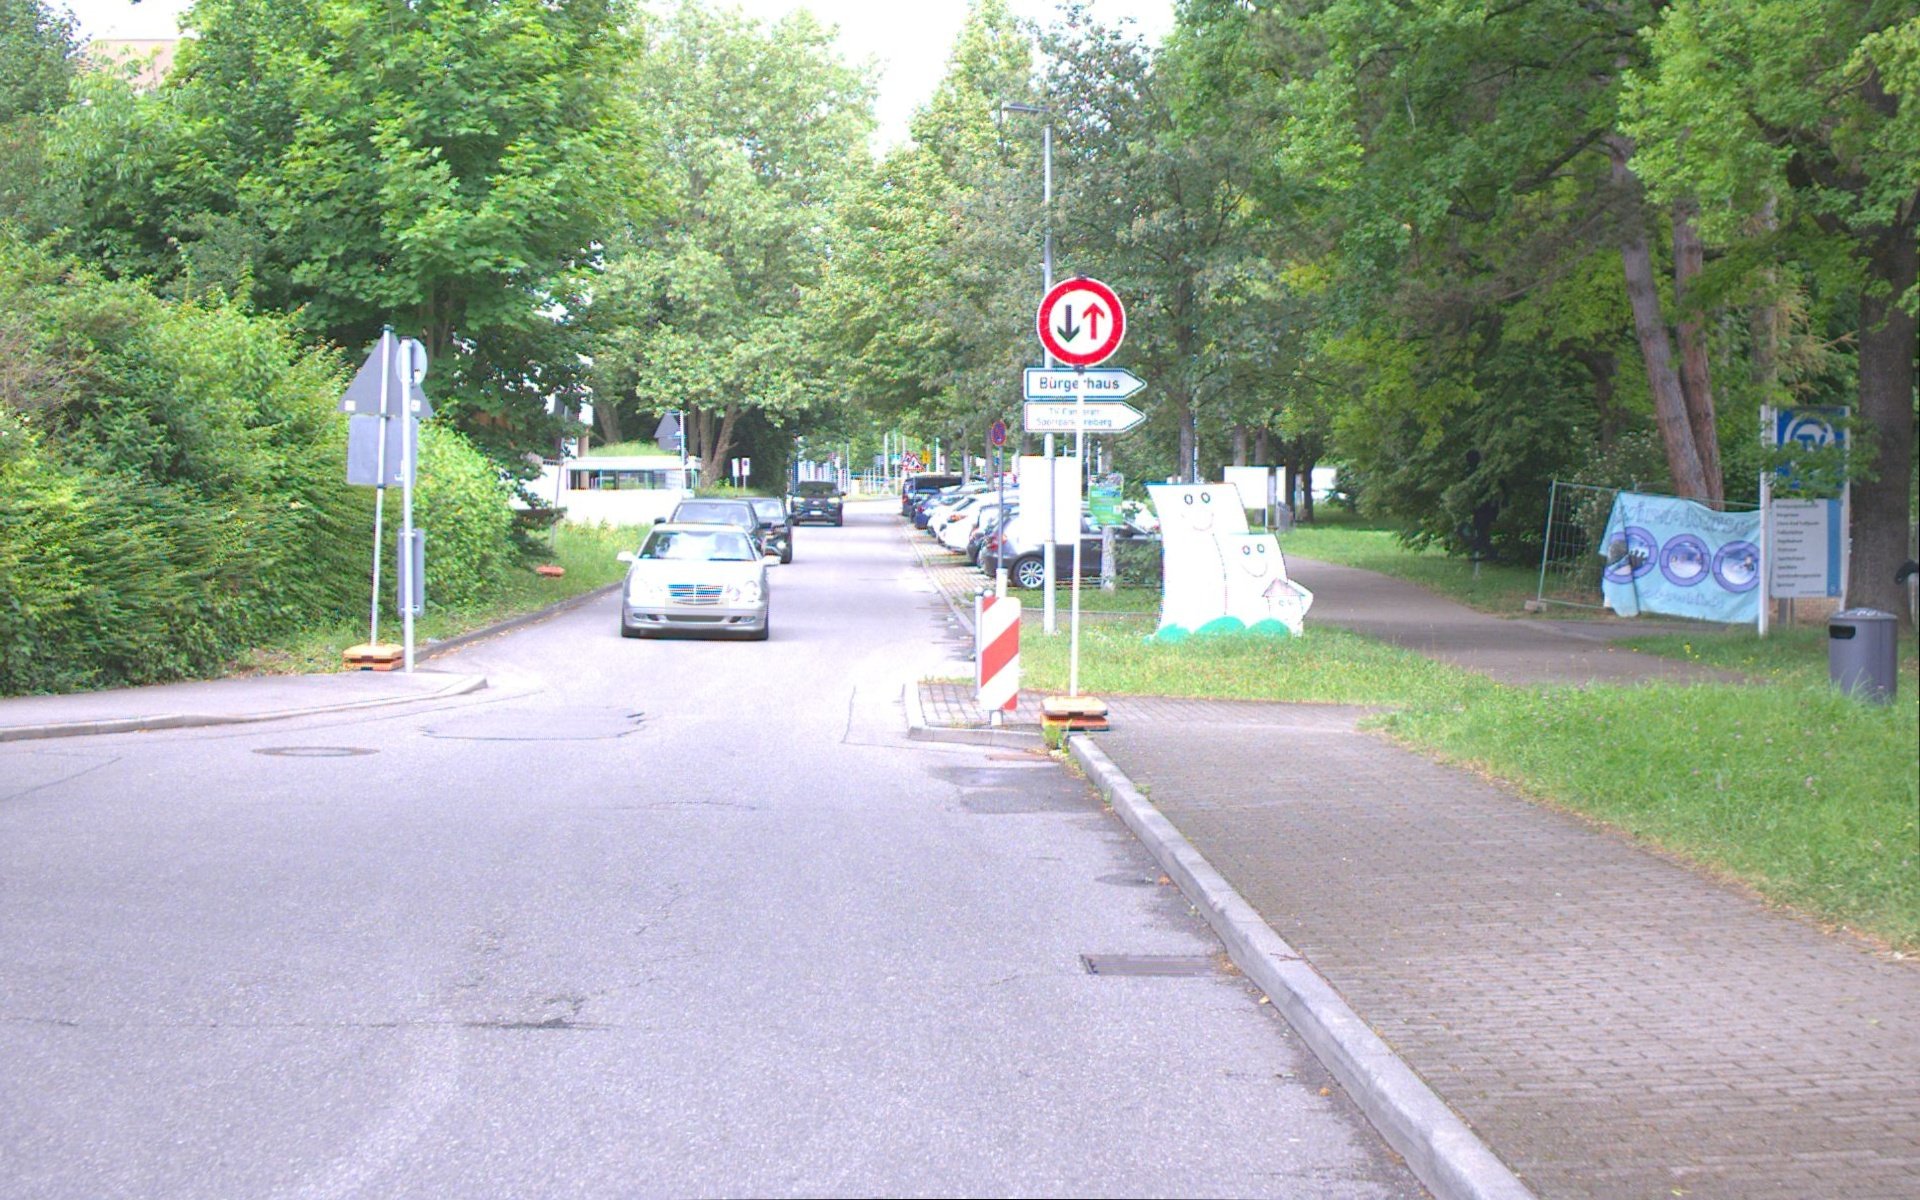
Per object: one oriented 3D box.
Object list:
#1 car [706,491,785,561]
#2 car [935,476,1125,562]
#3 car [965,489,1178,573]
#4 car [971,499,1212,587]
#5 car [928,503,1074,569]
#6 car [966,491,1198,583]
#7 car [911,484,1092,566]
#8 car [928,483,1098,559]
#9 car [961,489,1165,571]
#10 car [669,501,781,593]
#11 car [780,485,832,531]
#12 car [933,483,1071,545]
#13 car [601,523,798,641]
[{"bbox_3d":[-5.062,-1.765,81.426,1.803,1.586,4.297,0,2,-3],"label":"car"},{"bbox_3d":[1.562,-1.840,77.957,4.062,1.681,1.823,-3,2,-5],"label":"car"},{"bbox_3d":[2.177,-1.382,68.051,4.062,1.563,1.823,-1,2,-2],"label":"car"},{"bbox_3d":[2.279,-0.981,60.316,4.062,1.429,2.000,-1,0,-2],"label":"car"},{"bbox_3d":[1.201,-1.897,101.499,4.062,1.681,1.823,-3,2,-5],"label":"car"},{"bbox_3d":[2.183,-1.131,62.422,4.062,1.563,1.822,-1,0,-2],"label":"car"},{"bbox_3d":[0.970,-1.797,81.990,4.062,1.681,1.823,-3,2,-5],"label":"car"},{"bbox_3d":[1.329,-2.010,87.293,4.062,1.681,1.823,-3,2,-5],"label":"car"},{"bbox_3d":[2.170,-1.499,72.877,4.062,1.483,1.823,-3,2,-5],"label":"car"},{"bbox_3d":[-4.211,-0.987,62.082,1.803,1.586,4.296,1,2,-1],"label":"car"},{"bbox_3d":[-5.976,-3.588,133.698,1.968,1.741,4.339,0,2,-2],"label":"car"},{"bbox_3d":[1.307,-2.699,107.385,4.062,1.681,1.823,-3,2,-5],"label":"car"},{"bbox_3d":[-3.069,-0.251,41.260,1.781,1.302,4.296,1,2,3],"label":"car"}]
